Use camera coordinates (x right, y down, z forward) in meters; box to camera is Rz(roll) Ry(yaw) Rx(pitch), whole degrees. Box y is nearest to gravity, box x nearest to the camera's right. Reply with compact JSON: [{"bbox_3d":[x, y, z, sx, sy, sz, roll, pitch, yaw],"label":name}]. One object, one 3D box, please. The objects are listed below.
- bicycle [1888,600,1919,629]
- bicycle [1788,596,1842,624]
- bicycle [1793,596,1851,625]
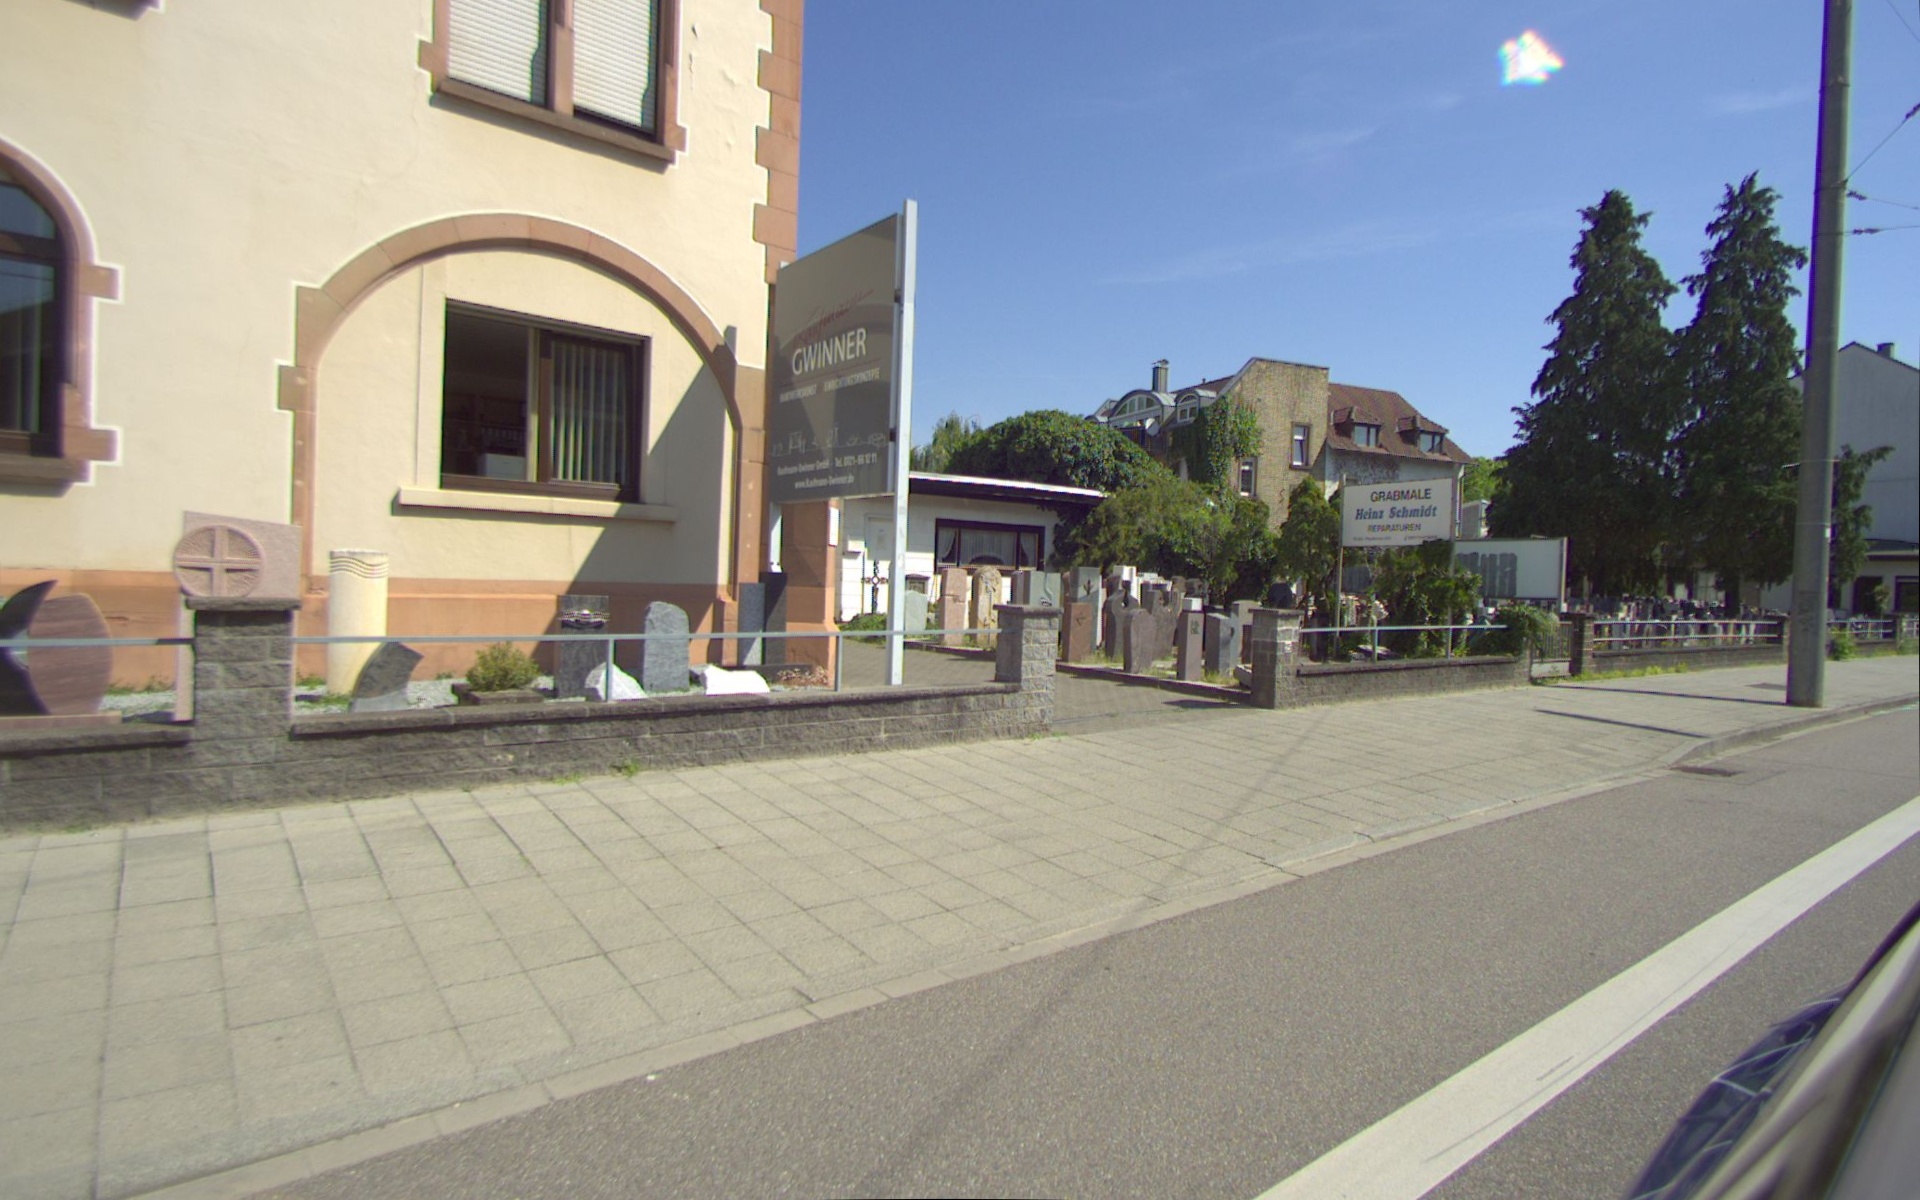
[{"bbox_3d":[39.430,0.605,41.717,0.504,1.124,1.694,3,2,-10],"label":"bicycle"},{"bbox_3d":[37.855,0.439,44.824,0.502,1.124,1.692,2,2,-33],"label":"bicycle"},{"bbox_3d":[37.296,0.455,43.812,0.502,1.124,1.800,2,2,-31],"label":"bicycle"}]
